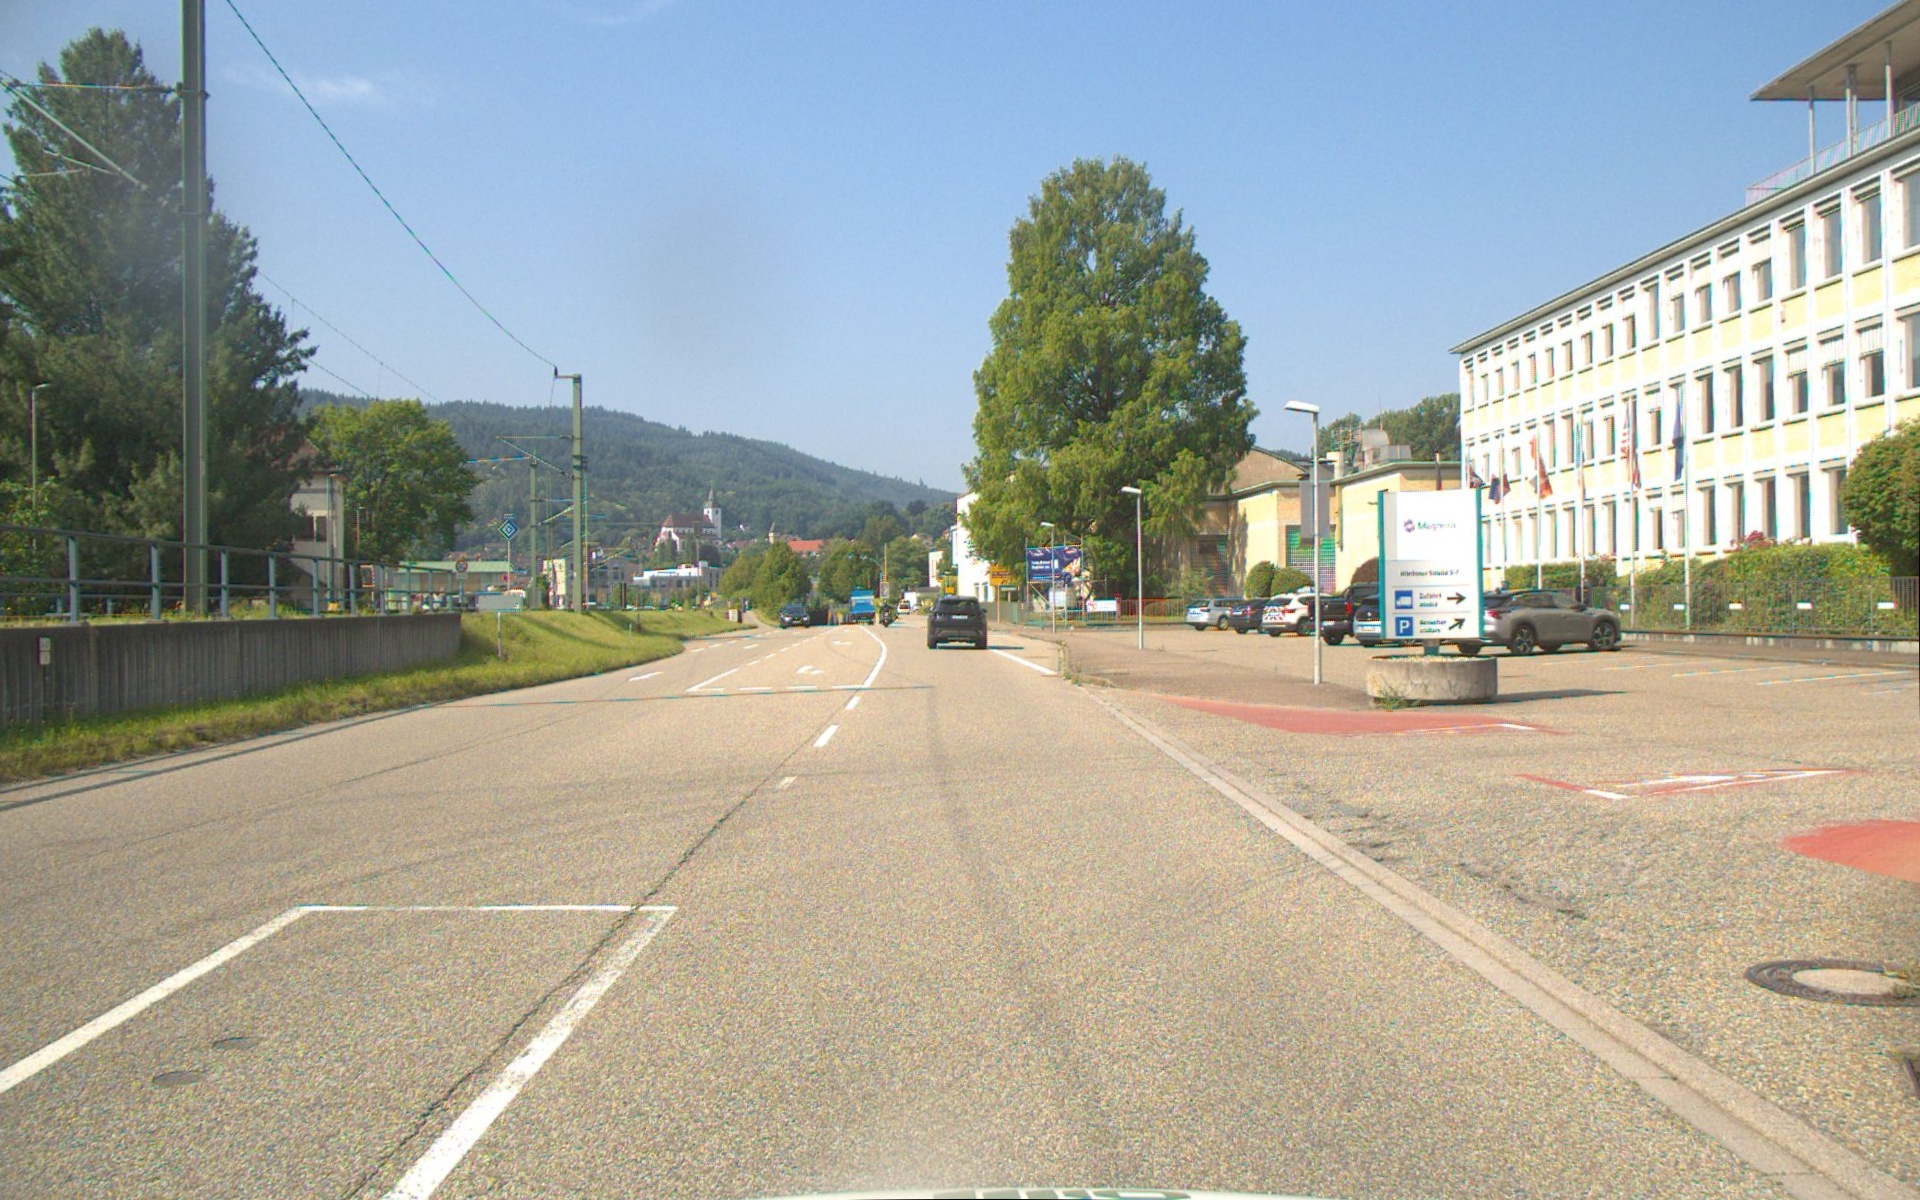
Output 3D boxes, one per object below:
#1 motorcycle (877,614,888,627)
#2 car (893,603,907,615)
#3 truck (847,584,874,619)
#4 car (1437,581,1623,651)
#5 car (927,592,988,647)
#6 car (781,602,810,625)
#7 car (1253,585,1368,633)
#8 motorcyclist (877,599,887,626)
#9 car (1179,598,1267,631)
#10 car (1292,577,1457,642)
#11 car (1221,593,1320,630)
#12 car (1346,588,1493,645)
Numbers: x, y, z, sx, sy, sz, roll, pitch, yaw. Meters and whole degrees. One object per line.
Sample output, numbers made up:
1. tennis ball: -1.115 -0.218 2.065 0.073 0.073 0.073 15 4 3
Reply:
1. motorcycle: -4.555 1.207 97.533 0.594 0.766 1.414 -1 0 -2
2. car: -8.010 1.208 220.538 1.731 1.512 3.999 0 -1 -1
3. truck: -9.008 0.153 148.830 2.267 3.022 5.960 -1 0 -5
4. car: 13.467 0.361 39.037 4.254 1.531 1.867 -1 0 -31
5. car: -0.094 0.604 53.362 1.880 1.668 3.999 -1 0 0
6. car: -10.683 0.861 107.613 1.721 1.454 3.996 -1 0 -5
7. car: 13.149 0.326 62.012 4.119 1.701 1.849 -1 0 -32
8. motorcyclist: -4.596 0.727 97.539 0.594 1.547 0.863 -1 0 -2
9. car: 12.081 0.646 75.974 3.950 1.425 1.645 -1 0 -33
10. car: 12.722 0.277 50.673 4.969 1.864 1.962 -1 0 -31
11. car: 12.743 0.467 67.808 3.950 1.425 1.645 -1 0 -33
12. car: 13.188 0.467 47.424 3.946 1.531 1.867 -1 0 -31
